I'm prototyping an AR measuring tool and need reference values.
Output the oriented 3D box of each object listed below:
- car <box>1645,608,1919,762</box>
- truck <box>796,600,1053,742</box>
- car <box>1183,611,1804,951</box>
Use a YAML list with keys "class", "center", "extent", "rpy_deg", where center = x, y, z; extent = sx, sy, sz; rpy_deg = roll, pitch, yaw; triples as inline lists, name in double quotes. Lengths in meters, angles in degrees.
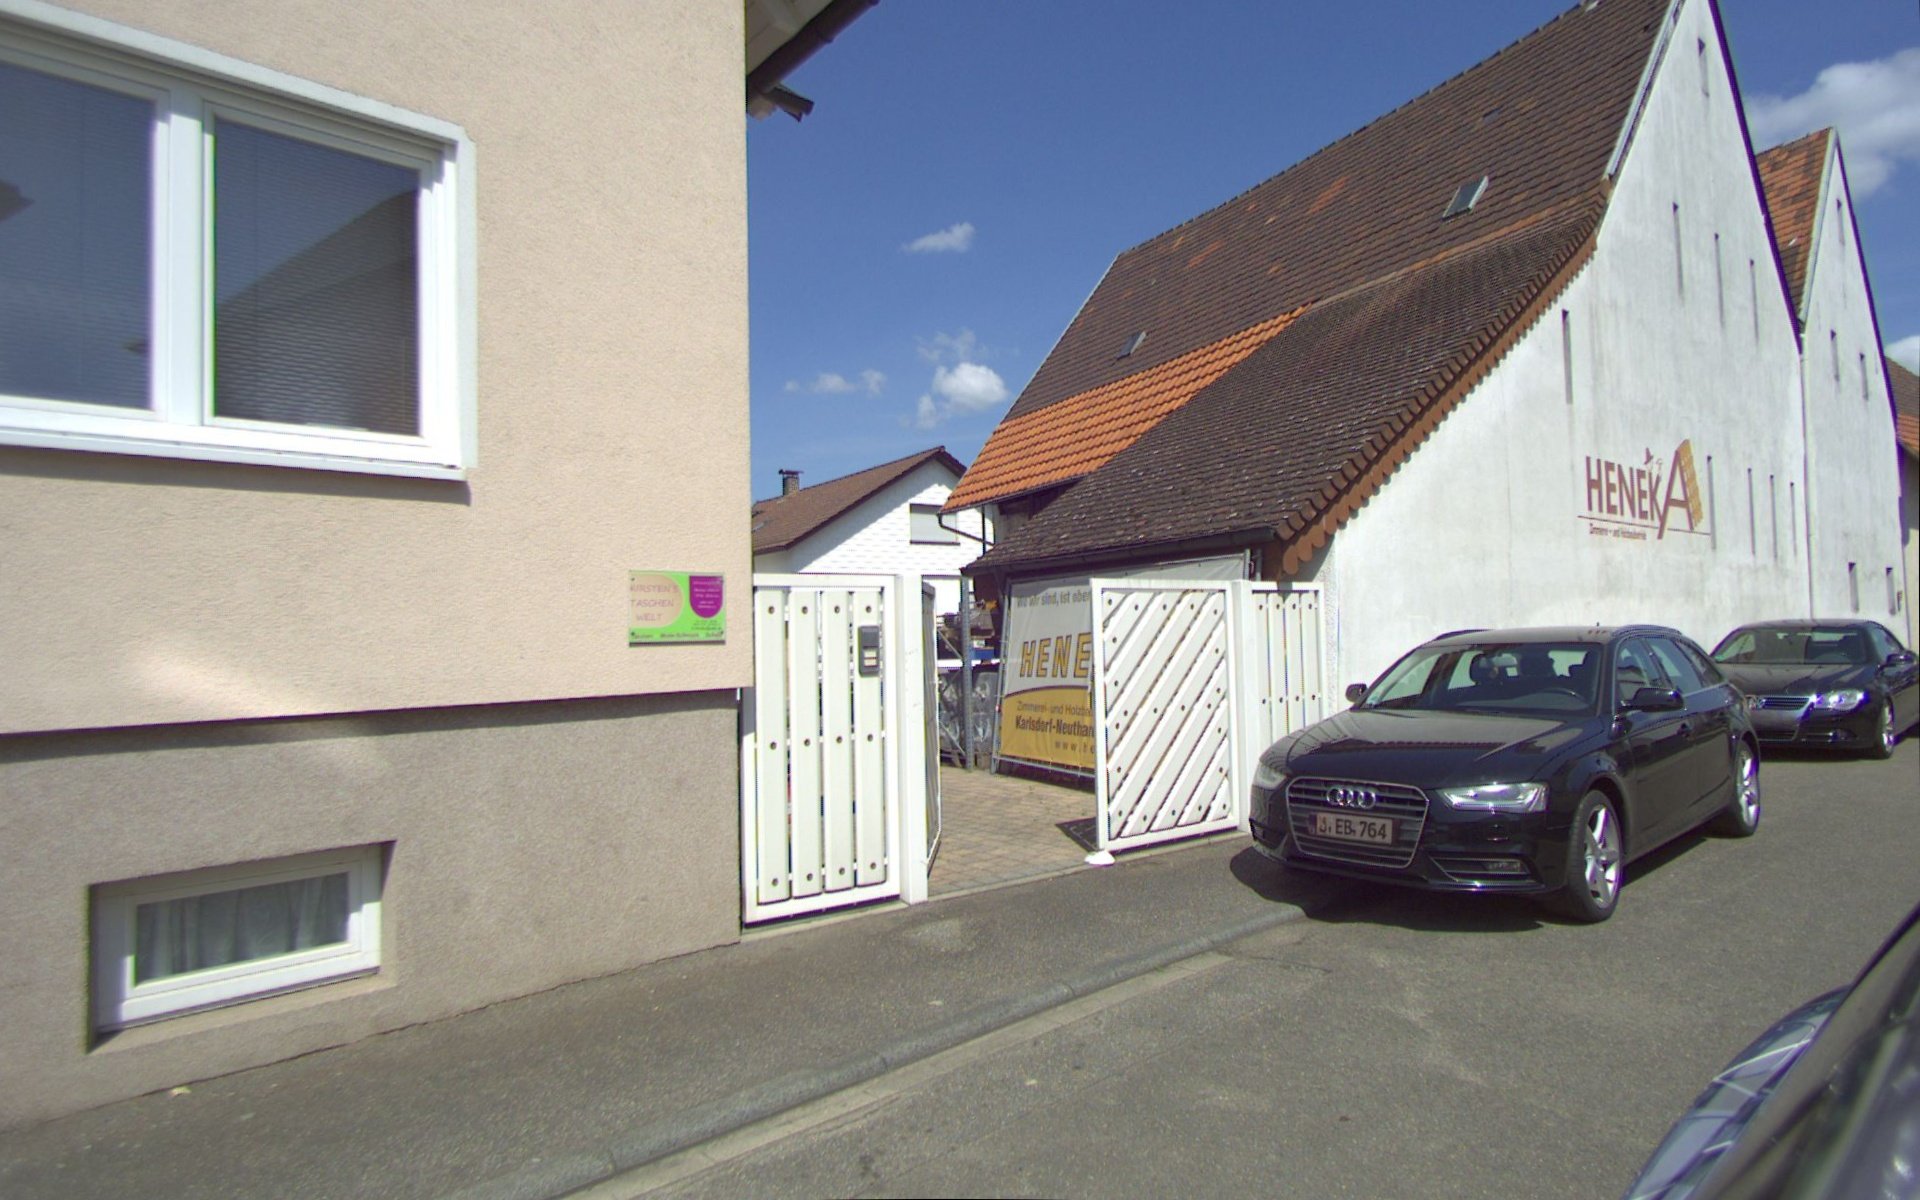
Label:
- class: "car"
  center: [9.758, 0.845, 11.574]
  extent: [4.334, 1.383, 1.899]
  rpy_deg: [-1, -2, -38]
- class: "truck"
  center: [-0.604, 1.130, 16.664]
  extent: [3.922, 2.040, 2.000]
  rpy_deg: [-2, -3, -3]
- class: "car"
  center: [3.688, 0.833, 6.574]
  extent: [4.653, 1.383, 1.899]
  rpy_deg: [-1, -3, -40]
